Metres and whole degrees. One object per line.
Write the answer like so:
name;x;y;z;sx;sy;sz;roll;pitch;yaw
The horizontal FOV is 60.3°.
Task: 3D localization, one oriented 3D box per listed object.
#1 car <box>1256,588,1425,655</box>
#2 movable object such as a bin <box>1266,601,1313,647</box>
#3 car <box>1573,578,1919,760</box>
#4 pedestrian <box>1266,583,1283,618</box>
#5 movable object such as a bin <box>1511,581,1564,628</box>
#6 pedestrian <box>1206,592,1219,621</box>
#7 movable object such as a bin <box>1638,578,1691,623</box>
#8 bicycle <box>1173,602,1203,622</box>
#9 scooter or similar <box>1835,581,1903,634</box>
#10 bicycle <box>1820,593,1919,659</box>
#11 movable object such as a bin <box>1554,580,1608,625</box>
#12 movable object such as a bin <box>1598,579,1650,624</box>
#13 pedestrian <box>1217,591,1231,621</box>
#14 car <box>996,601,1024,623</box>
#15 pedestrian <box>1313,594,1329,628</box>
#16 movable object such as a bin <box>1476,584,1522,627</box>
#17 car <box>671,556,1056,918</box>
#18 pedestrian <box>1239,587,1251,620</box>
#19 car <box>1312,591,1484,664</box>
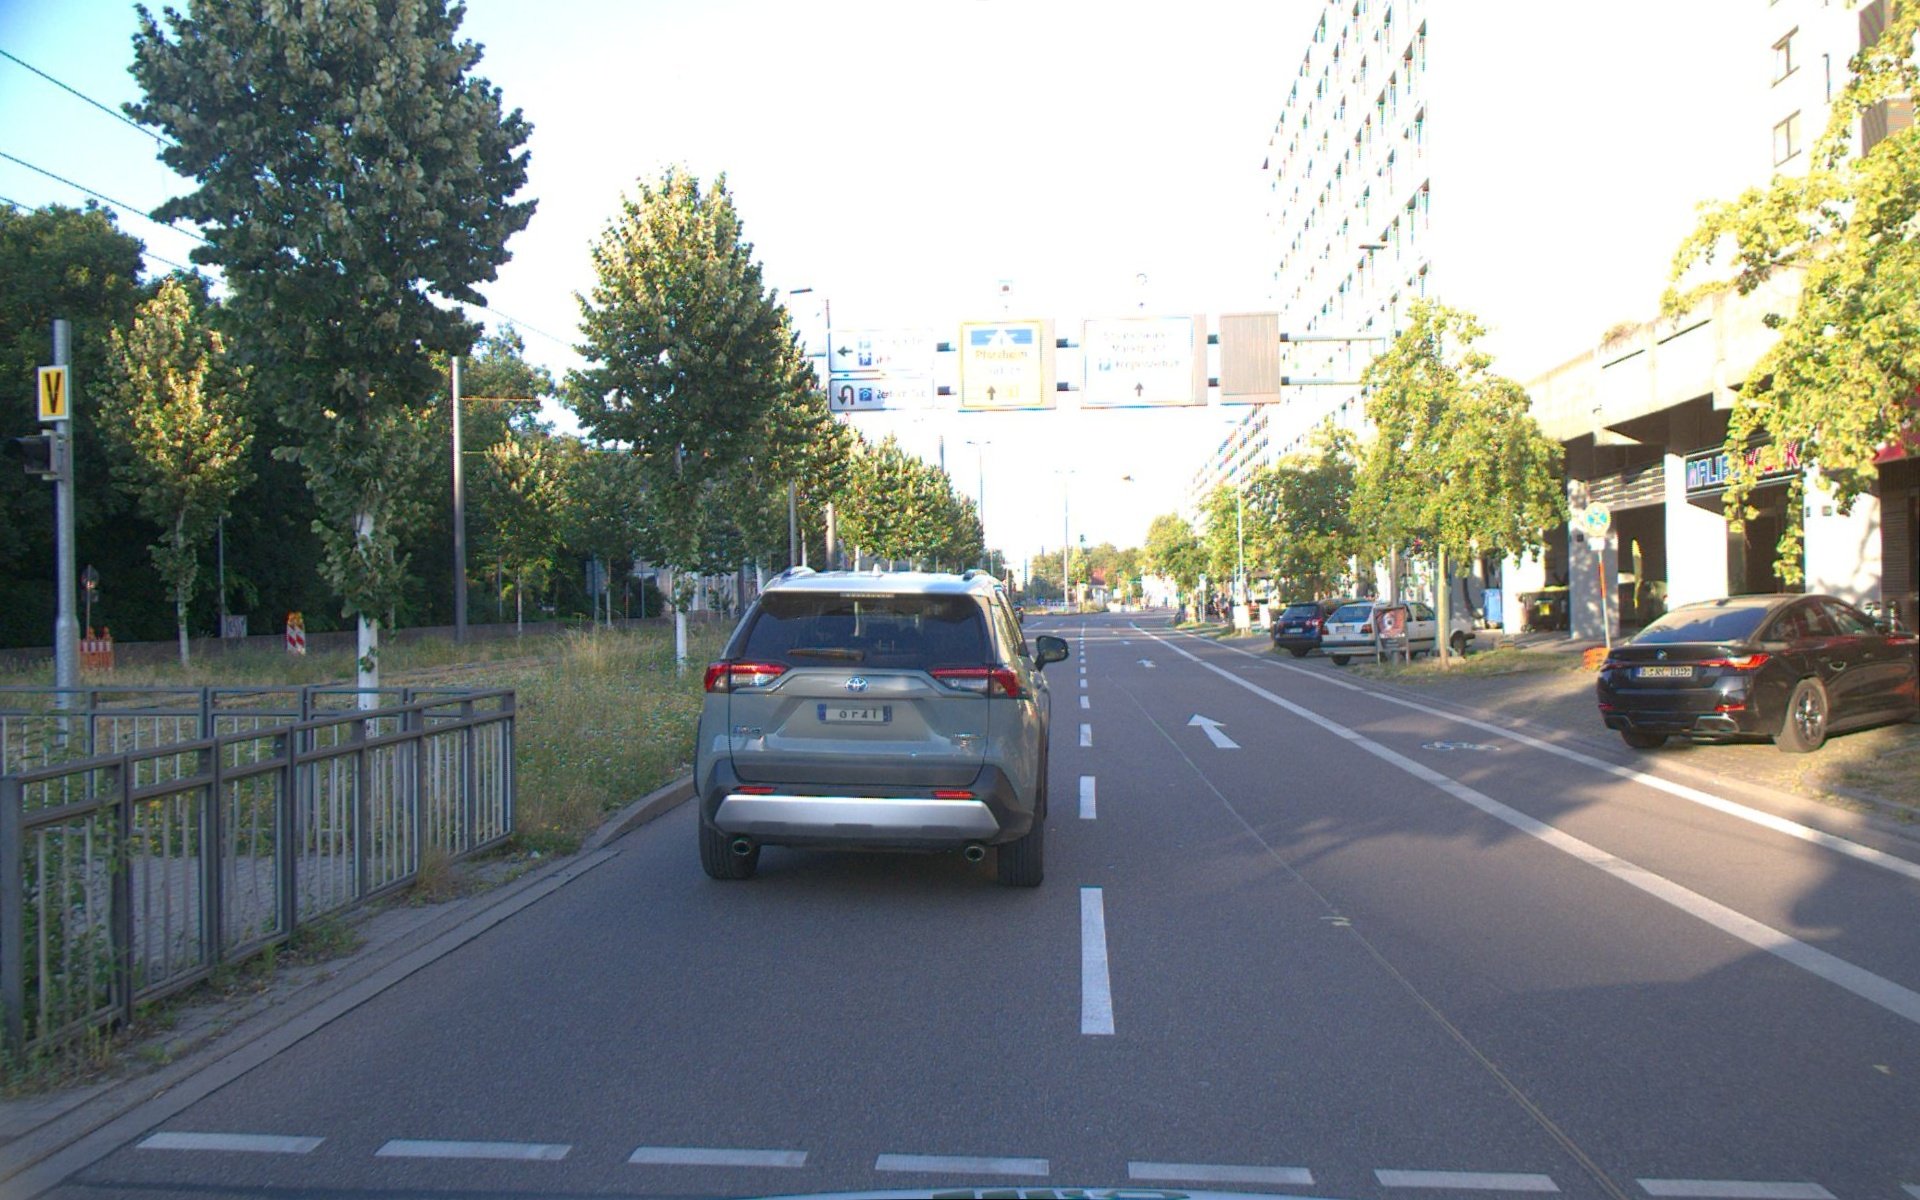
car;10.457;0.585;45.328;4.618;1.534;1.915;-3;0;-36
movable object such as a bin;10.070;0.725;50.616;1.063;1.324;1.360;-3;0;-2
car;8.402;0.616;16.946;4.558;1.478;1.790;-3;0;-37
pedestrian;17.740;0.048;93.252;0.807;1.921;0.867;-3;-2;12
movable object such as a bin;17.677;0.138;50.676;1.157;1.346;1.267;-4;0;2
pedestrian;15.358;0.418;100.738;0.640;1.732;0.689;-3;0;4
movable object such as a bin;21.581;0.013;50.666;1.157;1.336;1.088;-1;0;2
bicycle;14.660;0.770;106.458;1.757;1.214;0.567;-3;0;-1
scooter or similar;20.856;0.166;37.979;0.393;1.181;1.828;1;0;-5
bicycle;15.988;0.448;28.986;1.539;1.067;0.433;-3;0;2
movable object such as a bin;19.022;0.081;50.698;1.157;1.321;1.305;-1;0;2
movable object such as a bin;20.368;0.037;50.743;1.157;1.336;1.125;-1;0;2
pedestrian;16.051;0.359;100.668;0.671;1.765;0.761;-3;0;4
car;3.262;0.775;106.815;1.639;1.376;4.002;0;0;4
pedestrian;17.558;0.526;80.376;0.564;1.647;0.643;-3;0;1
movable object such as a bin;17.944;0.167;55.070;1.082;1.353;1.283;-3;0;3
car;-0.339;0.634;9.964;1.795;1.702;4.284;0;0;4
pedestrian;16.415;0.201;95.102;0.564;1.817;0.829;-3;-2;12
car;10.325;0.636;38.891;3.944;1.441;1.730;-3;0;-34
